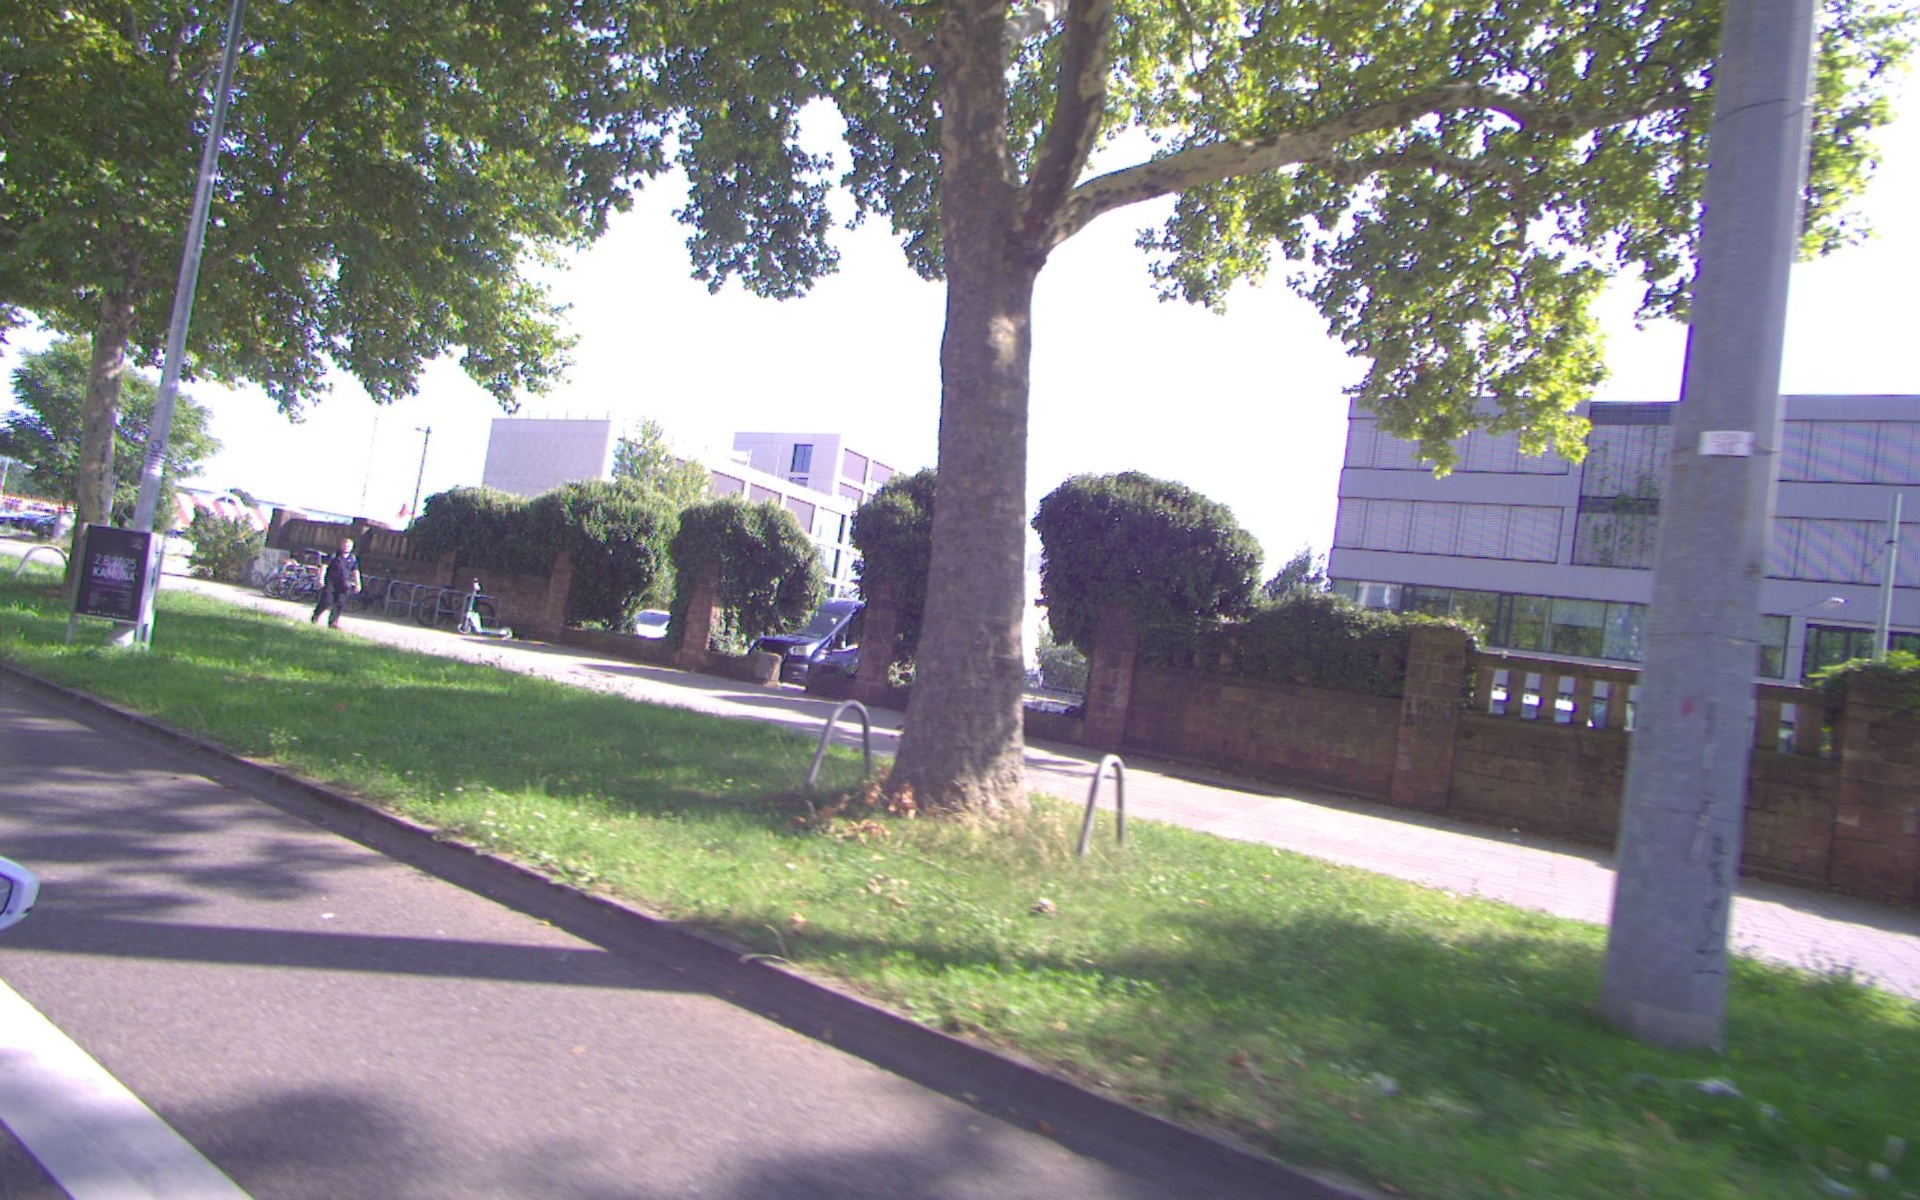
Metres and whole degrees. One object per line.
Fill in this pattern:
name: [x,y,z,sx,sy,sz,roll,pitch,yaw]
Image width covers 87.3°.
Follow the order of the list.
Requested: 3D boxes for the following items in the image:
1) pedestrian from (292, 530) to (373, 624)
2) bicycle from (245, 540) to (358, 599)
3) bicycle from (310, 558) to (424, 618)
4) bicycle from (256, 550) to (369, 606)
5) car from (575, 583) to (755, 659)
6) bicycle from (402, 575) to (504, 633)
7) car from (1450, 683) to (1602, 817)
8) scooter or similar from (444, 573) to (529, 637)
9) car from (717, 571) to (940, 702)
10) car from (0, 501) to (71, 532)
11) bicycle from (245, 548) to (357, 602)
pedestrian: [-11.242,-0.406,18.019,0.774,1.532,0.785,7,-2,31]
bicycle: [-17.588,-0.794,26.926,0.982,1.292,2.248,6,-2,31]
bicycle: [-14.149,-0.257,24.082,0.730,1.088,2.180,7,-3,30]
bicycle: [-16.081,-0.529,25.057,0.731,1.089,2.175,7,-1,35]
car: [-8.166,0.658,28.424,2.147,1.495,4.915,7,-3,22]
bicycle: [-11.419,0.103,22.713,0.722,1.017,1.872,7,-3,30]
car: [9.870,2.552,17.659,1.877,1.753,4.534,7,-3,29]
scooter or similar: [-10.399,0.127,22.130,0.530,1.205,1.507,7,-2,35]
car: [-3.047,0.994,24.656,2.214,2.461,5.387,7,-3,33]
car: [-68.683,-6.210,74.035,1.914,1.479,4.359,7,-4,30]
bicycle: [-16.710,-0.611,25.559,0.731,1.089,2.175,7,-1,35]
